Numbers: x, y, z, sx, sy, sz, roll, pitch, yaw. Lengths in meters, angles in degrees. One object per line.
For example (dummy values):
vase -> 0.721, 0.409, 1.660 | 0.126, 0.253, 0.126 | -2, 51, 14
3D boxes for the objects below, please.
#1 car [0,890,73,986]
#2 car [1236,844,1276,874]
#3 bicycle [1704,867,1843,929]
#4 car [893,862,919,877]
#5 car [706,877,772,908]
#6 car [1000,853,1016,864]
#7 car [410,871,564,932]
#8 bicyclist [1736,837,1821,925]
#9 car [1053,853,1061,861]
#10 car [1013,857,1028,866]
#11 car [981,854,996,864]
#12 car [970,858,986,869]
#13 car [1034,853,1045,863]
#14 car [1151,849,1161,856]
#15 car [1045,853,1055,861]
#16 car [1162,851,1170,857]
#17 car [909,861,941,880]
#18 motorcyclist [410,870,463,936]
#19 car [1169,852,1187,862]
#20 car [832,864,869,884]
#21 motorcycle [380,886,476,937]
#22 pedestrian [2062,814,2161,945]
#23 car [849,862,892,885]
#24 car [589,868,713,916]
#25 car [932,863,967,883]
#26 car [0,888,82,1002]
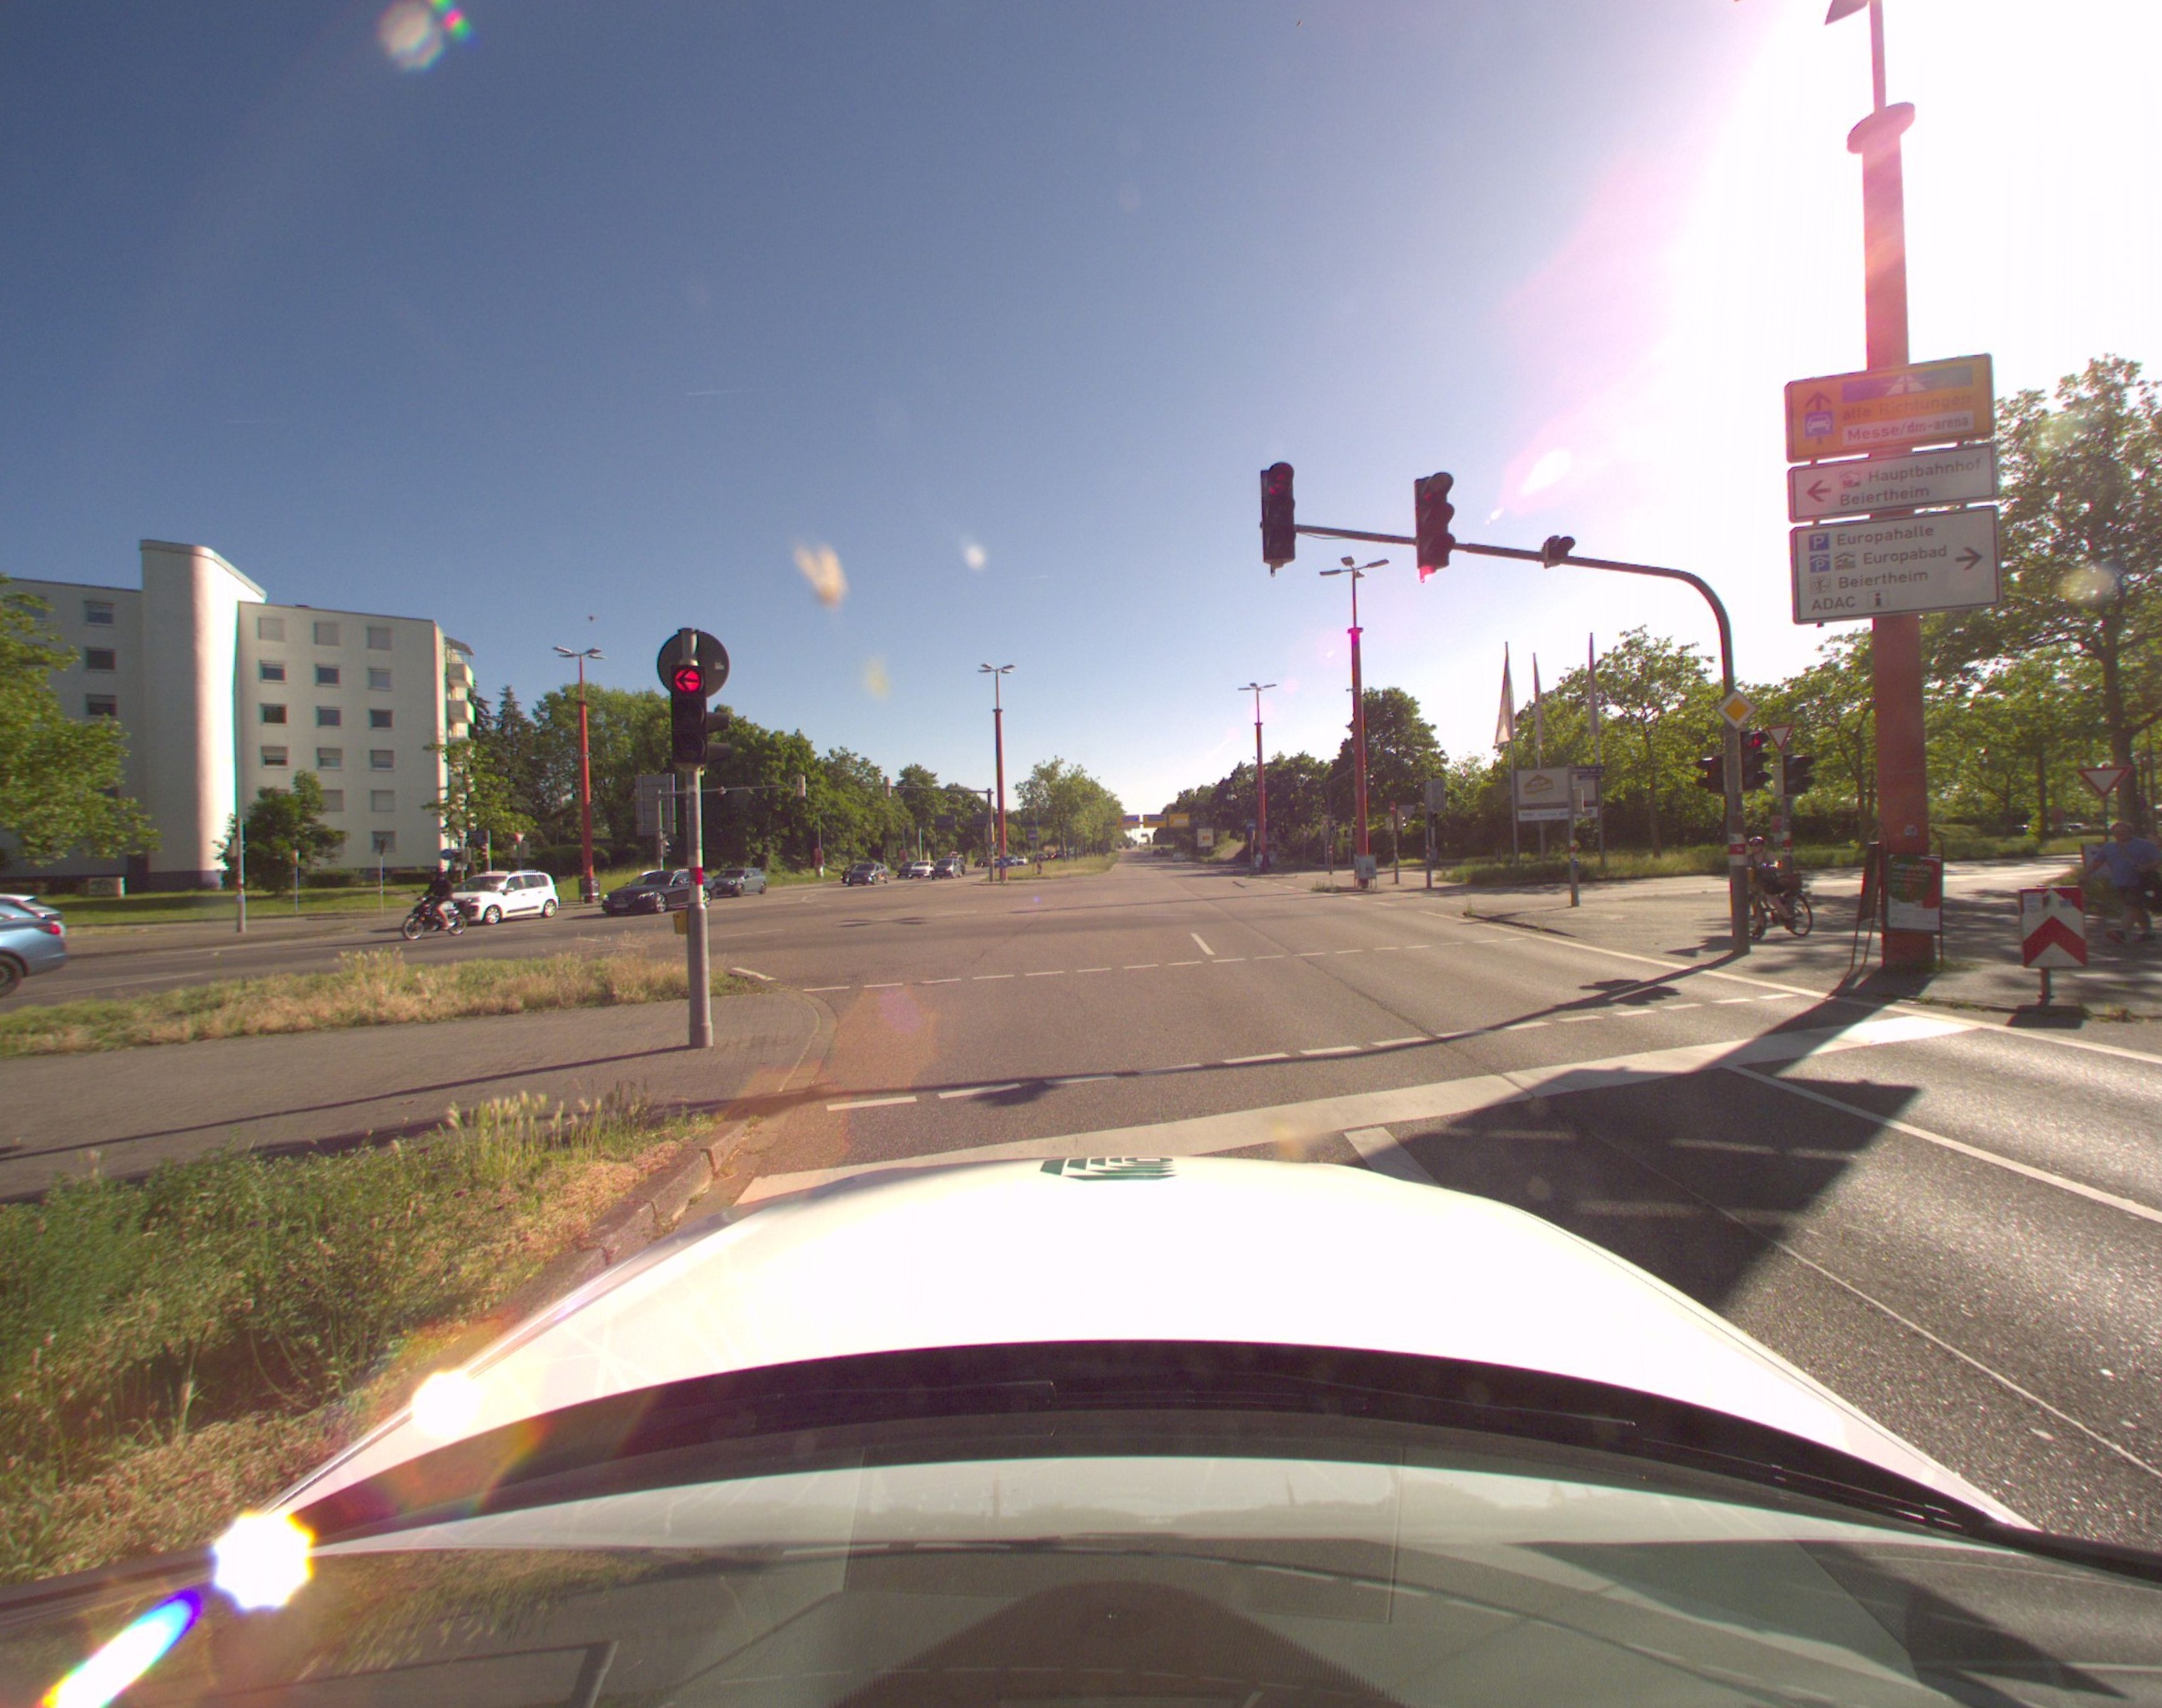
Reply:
car -> -19.401, 1.471, 12.621 | 1.829, 1.601, 4.444 | -2, -1, 5
car -> 11.625, 0.290, 53.792 | 1.977, 1.887, 4.020 | -2, 0, 20
bicycle -> 11.110, 0.681, 13.060 | 2.165, 0.878, 0.557 | -2, 0, -15
car -> -16.063, 1.428, 74.898 | 1.448, 1.273, 3.614 | -1, 0, 2
car -> -17.643, 1.957, 42.195 | 1.424, 1.388, 4.144 | -1, 0, 4
car -> -10.402, 0.620, 116.956 | 1.696, 1.558, 3.807 | -1, 0, 4
car -> -19.149, 1.480, 26.507 | 1.793, 1.707, 4.063 | -2, -1, 3
bicyclist -> 11.172, 0.420, 13.061 | 0.740, 1.341, 0.704 | -2, 0, -14
car -> -5.611, 0.717, 189.714 | 1.600, 1.730, 3.793 | -1, 0, 4
car -> -9.530, 1.167, 128.465 | 1.997, 1.308, 4.000 | -2, 0, 0
car -> -13.755, 0.790, 120.715 | 1.622, 1.450, 3.437 | -1, 0, 3
car -> -16.923, 1.550, 133.638 | 1.986, 1.638, 4.001 | -1, 0, 2
car -> -7.688, 0.781, 151.300 | 1.618, 1.739, 4.004 | -2, 0, 4
car -> 18.643, -0.353, 202.124 | 1.989, 1.496, 3.995 | -2, 0, -4
car -> -6.477, 0.609, 168.606 | 1.649, 1.747, 4.005 | -1, 0, 4
car -> 18.596, 0.042, 178.305 | 1.730, 1.341, 3.084 | -2, 0, 3
car -> -12.871, 1.325, 67.192 | 1.598, 1.459, 3.954 | -2, 0, 4
motorcyclist -> -15.981, 1.213, 20.205 | 0.830, 1.599, 0.642 | -1, -1, 10
car -> 14.381, 0.456, 121.344 | 2.048, 1.371, 4.389 | -2, 0, -1
car -> -18.033, 1.567, 63.773 | 1.537, 1.433, 3.889 | -3, -1, 3
motorcycle -> -16.038, 1.385, 20.078 | 0.418, 1.131, 2.101 | -1, -1, 10
pedestrian -> 14.986, 0.337, 11.672 | 0.893, 1.788, 0.895 | -1, 0, -17
car -> -13.744, 1.245, 53.409 | 1.542, 1.377, 4.265 | -2, 0, 3
car -> -15.171, 1.287, 29.070 | 1.869, 1.485, 4.607 | -1, 0, 2
car -> -9.852, 1.420, 61.316 | 1.693, 1.421, 4.003 | 1, 0, 3
car -> -16.512, 1.353, 10.322 | 1.984, 1.594, 4.470 | -2, 0, 5
